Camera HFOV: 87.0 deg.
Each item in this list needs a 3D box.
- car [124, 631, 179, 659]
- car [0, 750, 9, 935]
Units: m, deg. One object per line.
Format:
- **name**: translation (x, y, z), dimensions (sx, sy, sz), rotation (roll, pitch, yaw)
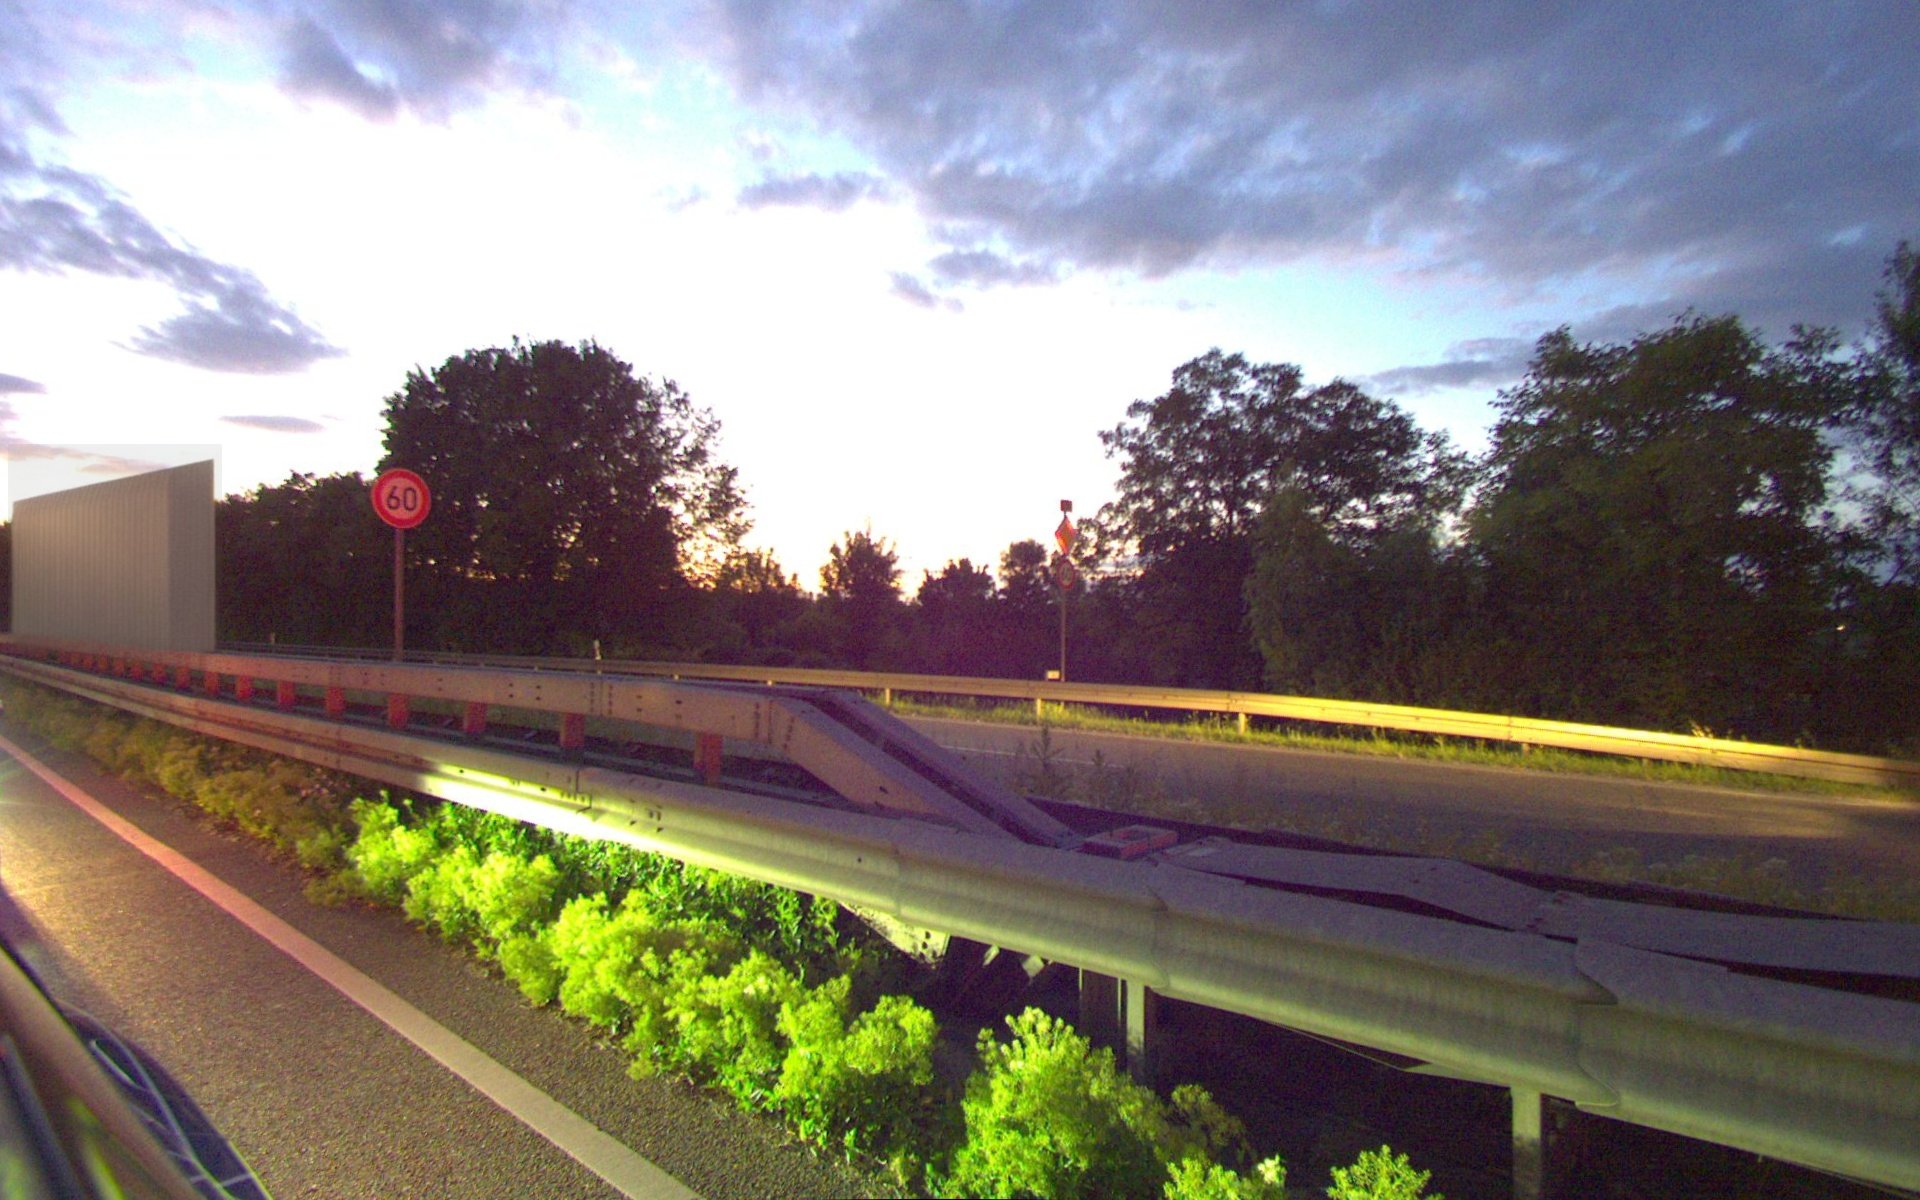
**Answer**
- **car**: translation (-44.724, 2.463, 55.973), dimensions (4.590, 1.516, 1.611), rotation (-2, -3, 42)
- **car**: translation (-6.732, 0.919, 5.561), dimensions (4.645, 1.447, 1.796), rotation (-2, 1, 42)
